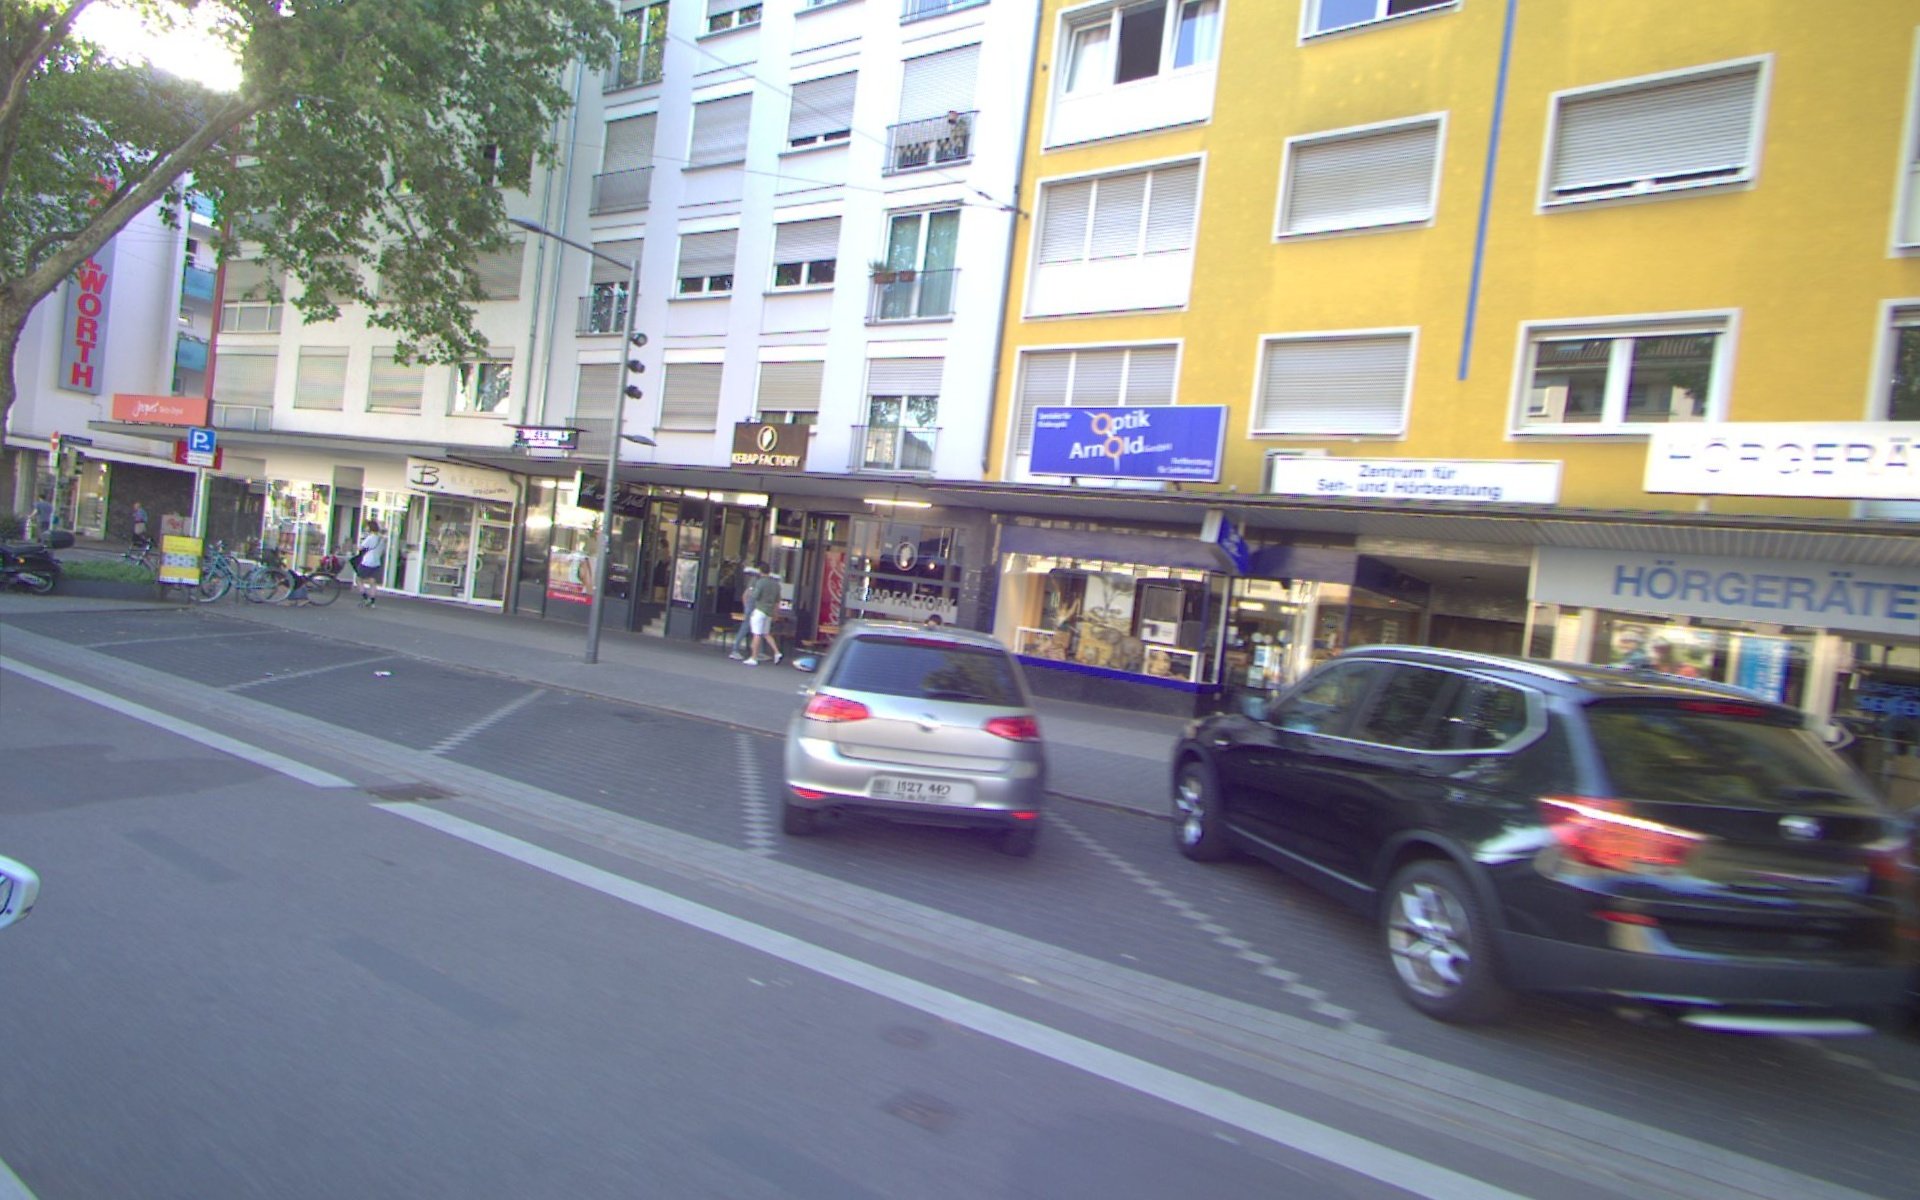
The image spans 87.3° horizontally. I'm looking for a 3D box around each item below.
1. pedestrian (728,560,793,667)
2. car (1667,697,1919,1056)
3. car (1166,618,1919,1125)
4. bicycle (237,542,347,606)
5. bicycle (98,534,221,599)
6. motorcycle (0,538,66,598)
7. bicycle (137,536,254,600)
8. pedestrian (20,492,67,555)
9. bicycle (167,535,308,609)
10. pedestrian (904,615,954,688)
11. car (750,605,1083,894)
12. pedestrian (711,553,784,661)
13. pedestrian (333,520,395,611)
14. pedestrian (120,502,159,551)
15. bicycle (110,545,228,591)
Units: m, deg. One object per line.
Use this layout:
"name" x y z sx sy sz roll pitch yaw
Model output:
"pedestrian" -3.574 0.239 18.018 0.776 1.816 0.705 7 4 37
"car" 5.517 1.478 4.498 1.712 1.559 3.603 6 0 -9
"car" 2.861 1.101 5.833 1.779 1.702 4.145 6 0 -9
"bicycle" -14.061 -0.531 21.201 0.668 1.169 1.761 7 2 40
"bicycle" -16.628 -0.687 20.934 0.701 1.205 1.872 7 3 39
"motorcycle" -15.684 -0.557 16.370 0.535 0.903 1.573 6 0 28
"bicycle" -15.645 -0.627 20.640 0.660 1.205 1.788 6 2 23
"pedestrian" -28.546 -2.385 31.326 0.751 1.816 0.781 7 1 32
"bicycle" -14.351 -0.528 20.036 0.818 1.248 2.080 7 1 36
"pedestrian" -0.531 0.891 17.273 0.615 1.171 0.418 7 1 35
"car" -0.452 0.888 7.866 1.778 1.469 4.173 6 0 -6
"pedestrian" -3.945 0.138 18.697 0.724 1.900 0.912 7 1 28
"pedestrian" -13.212 -0.757 22.304 0.809 1.900 0.645 6 1 18
"pedestrian" -31.281 -2.787 38.347 0.820 1.700 0.749 9 2 25
"bicycle" -17.115 -0.683 21.803 0.701 0.775 1.874 7 0 39
